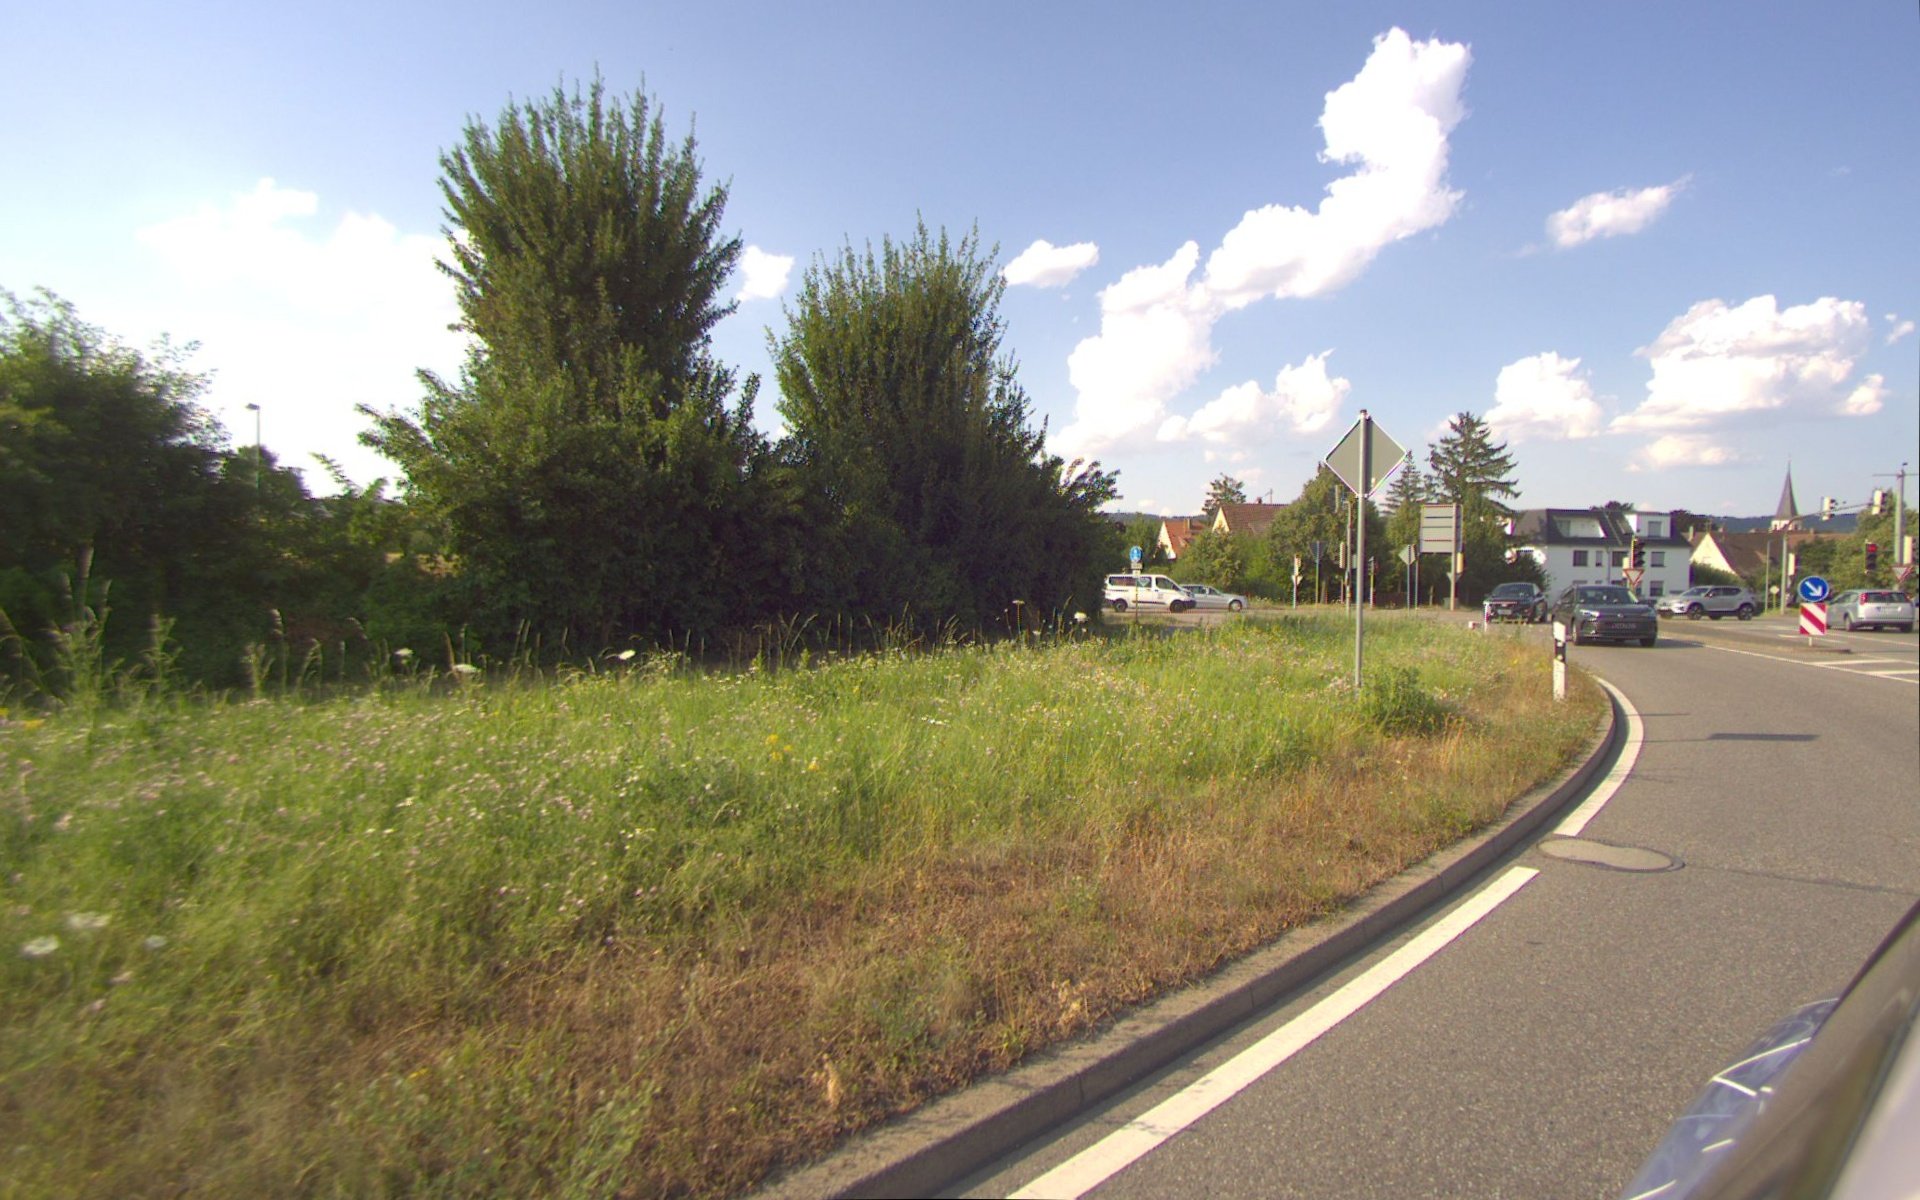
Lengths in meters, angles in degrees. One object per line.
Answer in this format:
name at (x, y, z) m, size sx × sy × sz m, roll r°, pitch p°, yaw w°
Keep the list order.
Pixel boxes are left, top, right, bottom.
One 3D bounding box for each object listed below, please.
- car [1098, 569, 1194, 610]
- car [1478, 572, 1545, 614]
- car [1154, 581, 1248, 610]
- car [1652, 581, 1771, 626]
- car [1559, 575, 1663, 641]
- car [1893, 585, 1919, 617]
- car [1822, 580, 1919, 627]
car at (9.501, -0.529, 51.949) m, size 4.741 × 1.972 × 1.901 m, roll 2°, pitch 0°, yaw 10°
car at (22.676, -0.268, 41.733) m, size 1.754 × 1.633 × 4.516 m, roll 0°, pitch 0°, yaw 20°
car at (13.157, -0.224, 55.539) m, size 4.873 × 1.533 × 1.857 m, roll 0°, pitch 0°, yaw 11°
car at (35.775, 0.157, 48.257) m, size 4.285 × 1.973 × 1.910 m, roll -2°, pitch -1°, yaw -5°
car at (17.842, 0.210, 27.919) m, size 1.770 × 1.650 × 4.430 m, roll 0°, pitch 0°, yaw 25°
car at (47.447, 0.000, 48.143) m, size 3.935 × 1.505 × 1.994 m, roll -2°, pitch -1°, yaw 10°
car at (32.506, 0.163, 35.972) m, size 1.802 × 1.548 × 4.312 m, roll 0°, pitch -2°, yaw 26°
